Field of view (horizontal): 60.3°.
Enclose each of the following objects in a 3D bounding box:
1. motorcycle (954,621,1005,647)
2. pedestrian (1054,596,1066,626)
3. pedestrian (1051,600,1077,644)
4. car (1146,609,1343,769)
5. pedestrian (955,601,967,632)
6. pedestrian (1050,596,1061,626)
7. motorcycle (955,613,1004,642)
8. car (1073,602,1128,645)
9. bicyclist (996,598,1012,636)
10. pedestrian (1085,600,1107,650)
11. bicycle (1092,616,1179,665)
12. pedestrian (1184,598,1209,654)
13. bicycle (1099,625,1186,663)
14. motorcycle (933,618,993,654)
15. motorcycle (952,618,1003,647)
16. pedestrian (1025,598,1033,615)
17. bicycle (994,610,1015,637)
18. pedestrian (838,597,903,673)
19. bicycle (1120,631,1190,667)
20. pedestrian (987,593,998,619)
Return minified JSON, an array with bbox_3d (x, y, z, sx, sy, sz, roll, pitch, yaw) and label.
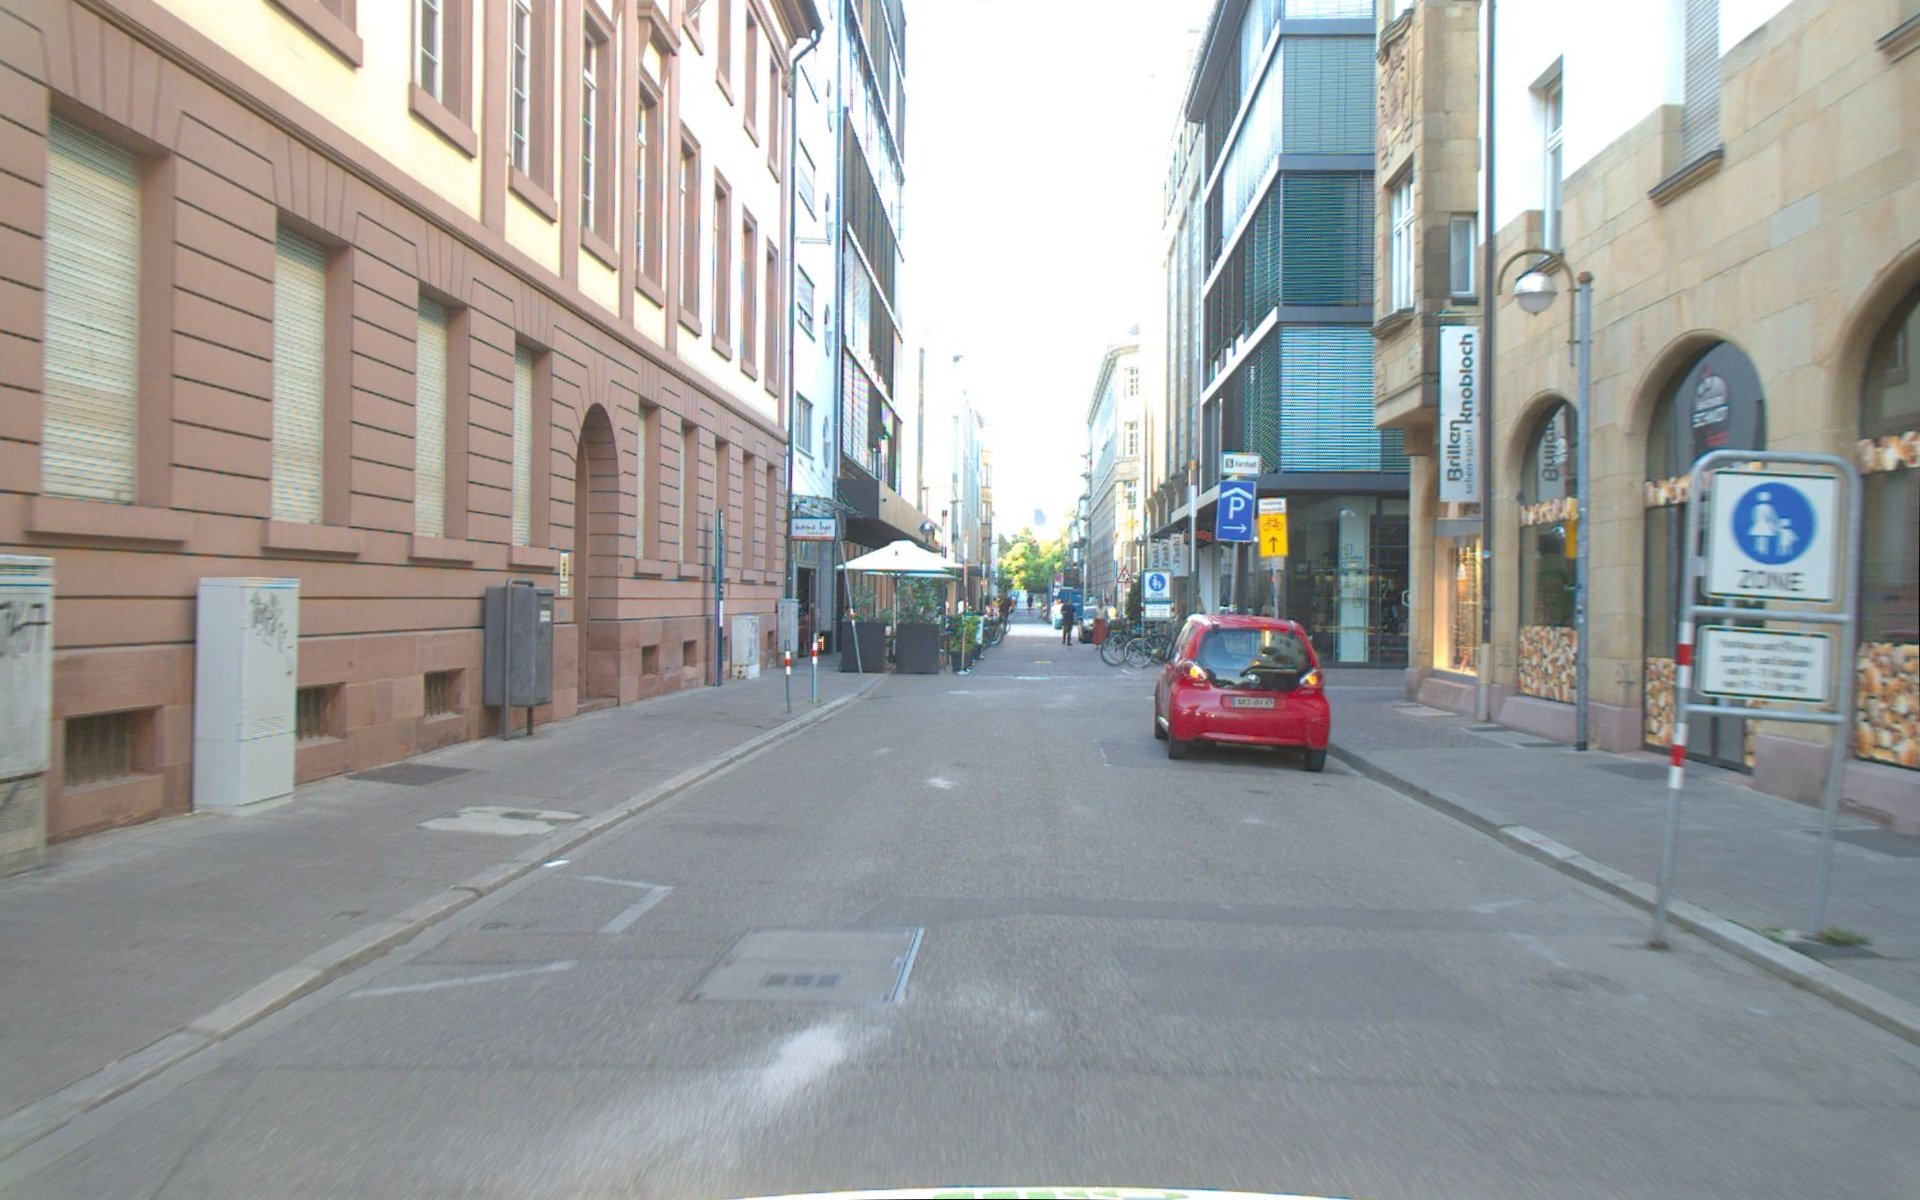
[{"bbox_3d":[0.677,1.184,57.813,1.765,0.891,0.560,1,0,-2],"label":"motorcycle"},{"bbox_3d":[5.582,0.629,92.324,0.591,1.651,0.530,1,0,4],"label":"pedestrian"},{"bbox_3d":[4.073,0.859,64.888,0.849,1.743,0.851,1,0,-6],"label":"pedestrian"},{"bbox_3d":[2.967,0.872,17.858,1.615,1.452,3.537,3,0,3],"label":"car"},{"bbox_3d":[0.046,0.872,87.025,0.592,1.651,0.528,1,0,-8],"label":"pedestrian"},{"bbox_3d":[5.350,0.606,93.045,0.591,1.651,0.626,1,0,4],"label":"pedestrian"},{"bbox_3d":[0.698,1.002,60.485,1.765,1.007,0.560,1,0,-2],"label":"motorcycle"},{"bbox_3d":[5.681,0.931,67.138,1.952,1.639,4.000,1,0,1],"label":"car"},{"bbox_3d":[1.993,0.768,74.953,0.624,1.669,0.771,1,0,-7],"label":"bicyclist"},{"bbox_3d":[4.525,0.818,55.036,0.621,1.648,0.466,1,0,-7],"label":"pedestrian"},{"bbox_3d":[4.193,0.963,39.623,2.010,1.154,0.649,1,0,-1],"label":"bicycle"},{"bbox_3d":[6.527,0.712,45.596,0.643,1.514,0.493,1,0,4],"label":"pedestrian"},{"bbox_3d":[4.651,1.124,42.250,2.155,0.921,0.649,1,0,-1],"label":"bicycle"},{"bbox_3d":[0.089,1.089,49.708,1.765,1.059,0.493,1,0,-2],"label":"motorcycle"},{"bbox_3d":[0.619,1.149,58.844,1.765,1.007,0.560,1,0,-2],"label":"motorcycle"},{"bbox_3d":[6.999,0.634,167.640,0.787,1.702,0.889,0,0,4],"label":"pedestrian"},{"bbox_3d":[1.996,1.058,74.863,0.624,1.177,2.498,1,0,-6],"label":"bicycle"},{"bbox_3d":[-1.830,0.705,33.807,1.264,1.514,0.661,1,0,0],"label":"pedestrian"},{"bbox_3d":[4.485,1.125,38.145,1.533,0.782,0.557,1,0,-1],"label":"bicycle"},{"bbox_3d":[2.144,0.388,108.592,0.664,1.651,0.626,1,0,4],"label":"pedestrian"}]
